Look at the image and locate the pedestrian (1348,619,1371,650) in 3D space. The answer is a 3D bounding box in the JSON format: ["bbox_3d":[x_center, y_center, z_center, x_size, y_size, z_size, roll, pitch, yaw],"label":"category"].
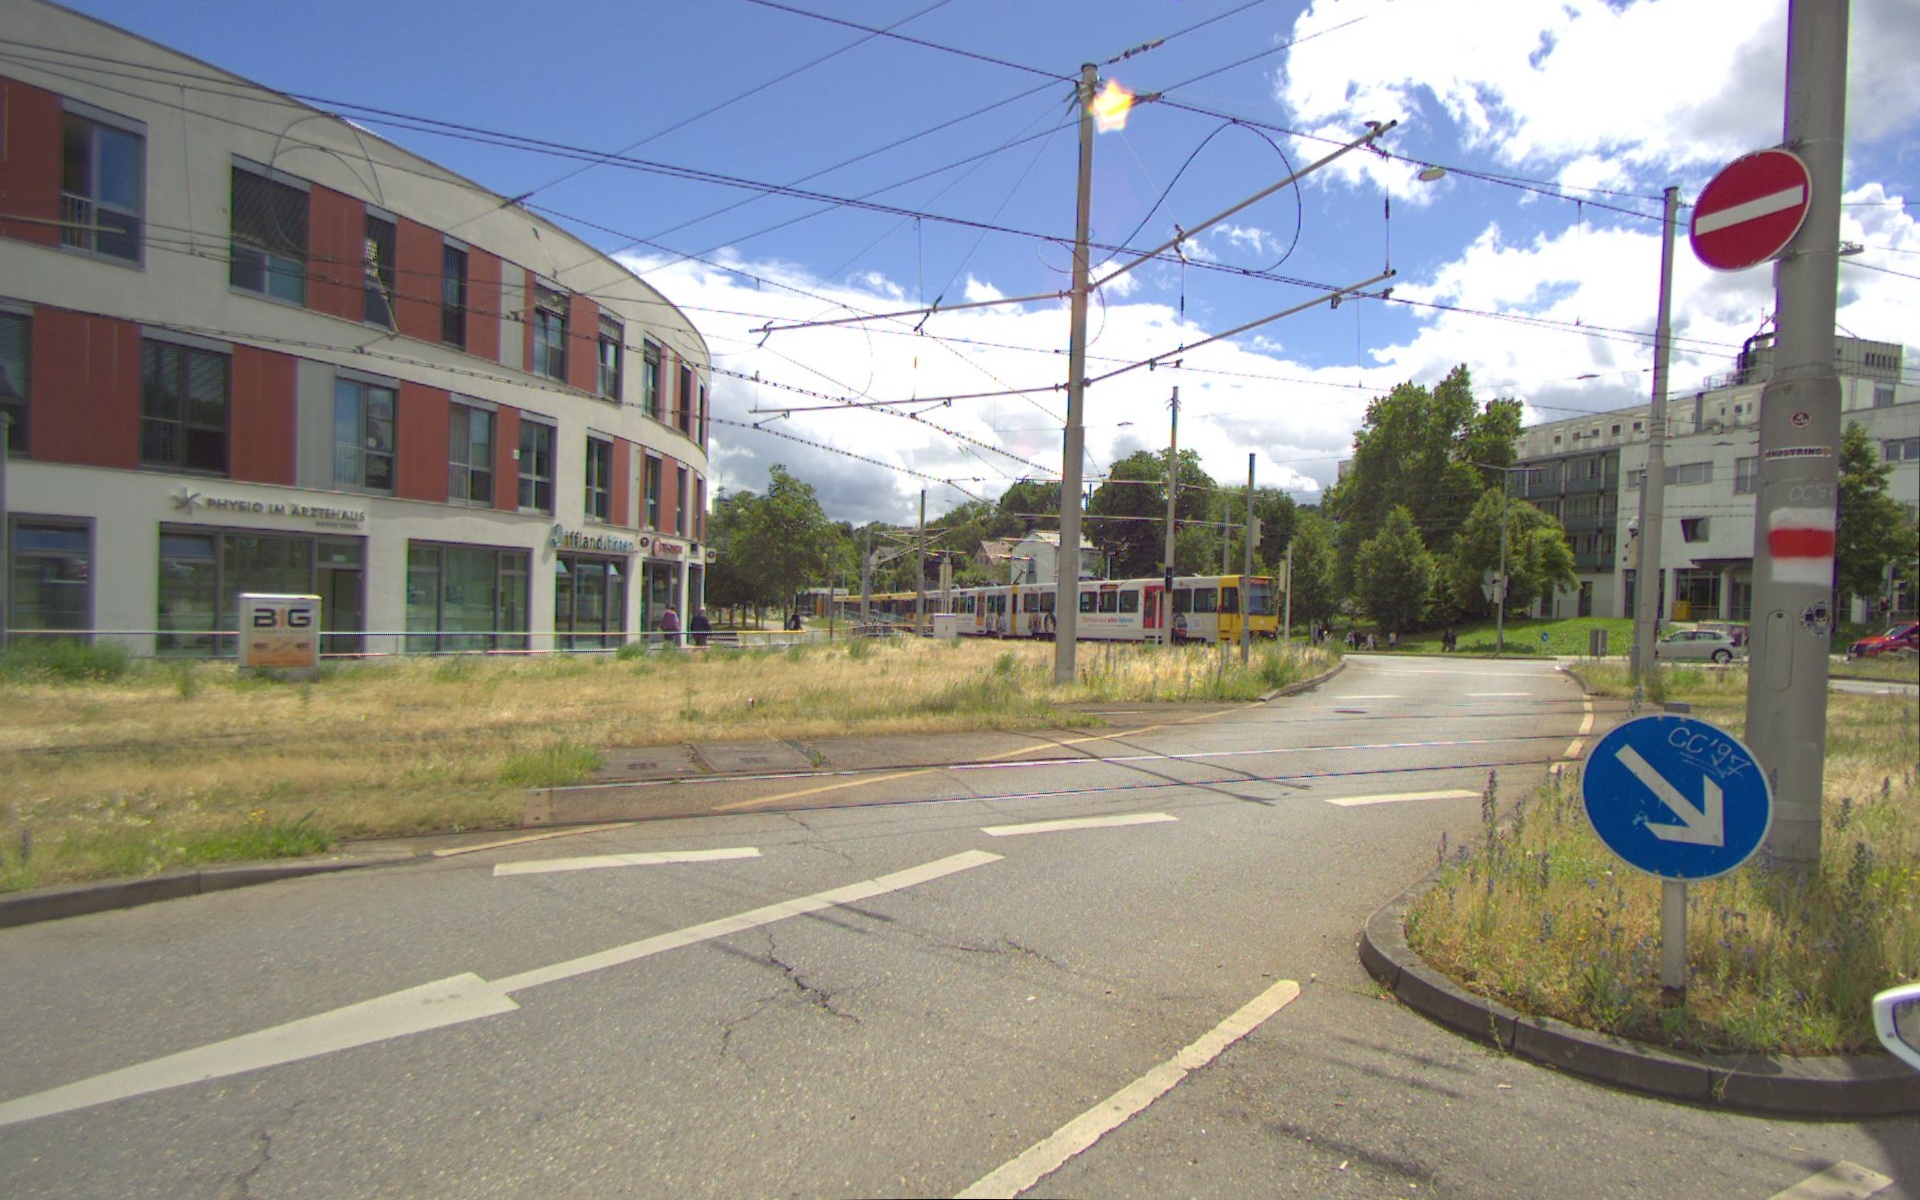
[{"bbox_3d":[26.219,2.291,65.998,0.854,1.994,1.098,2,-1,-27],"label":"pedestrian"}]

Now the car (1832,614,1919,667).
[{"bbox_3d":[38.259,1.636,40.190,4.702,2.035,1.859,1,-1,17],"label":"car"}]

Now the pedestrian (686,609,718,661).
[{"bbox_3d":[-8.076,1.096,31.480,0.720,1.601,0.692,1,0,10],"label":"pedestrian"}]

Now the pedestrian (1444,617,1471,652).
[{"bbox_3d":[28.794,1.974,58.155,0.854,1.994,1.098,2,-1,-27],"label":"pedestrian"}]

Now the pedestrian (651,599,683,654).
[{"bbox_3d":[-10.913,0.994,37.434,0.848,1.994,1.106,1,-1,-1],"label":"pedestrian"}]

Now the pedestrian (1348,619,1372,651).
[{"bbox_3d":[25.464,2.221,63.955,0.854,1.994,1.098,2,-1,-27],"label":"pedestrian"}]

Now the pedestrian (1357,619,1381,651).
[{"bbox_3d":[26.182,2.255,64.325,0.854,1.994,1.098,2,-1,-27],"label":"pedestrian"}]

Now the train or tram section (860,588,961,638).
[{"bbox_3d":[-4.853,1.244,89.672,3.703,3.880,20.068,2,-2,-18],"label":"train or tram section"}]

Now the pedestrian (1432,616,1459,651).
[{"bbox_3d":[27.882,1.922,57.730,0.854,1.994,1.098,2,-1,-27],"label":"pedestrian"}]

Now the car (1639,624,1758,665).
[{"bbox_3d":[31.957,1.905,43.588,4.101,1.606,1.853,0,-2,36],"label":"car"}]

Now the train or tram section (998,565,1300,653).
[{"bbox_3d":[9.022,0.566,53.880,3.719,3.864,19.885,2,-2,-31],"label":"train or tram section"}]

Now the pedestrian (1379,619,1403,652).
[{"bbox_3d":[26.797,2.211,62.481,0.854,1.994,1.098,2,-1,-27],"label":"pedestrian"}]

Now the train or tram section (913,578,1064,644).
[{"bbox_3d":[1.358,0.891,71.147,3.703,3.930,20.550,2,-2,-19],"label":"train or tram section"}]

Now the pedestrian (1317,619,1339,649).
[{"bbox_3d":[24.994,2.294,68.195,0.853,1.994,1.099,2,-1,-26],"label":"pedestrian"}]

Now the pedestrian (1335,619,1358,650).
[{"bbox_3d":[25.287,2.252,65.649,0.854,1.994,1.098,2,-1,-27],"label":"pedestrian"}]

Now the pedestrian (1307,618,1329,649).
[{"bbox_3d":[24.178,2.254,67.789,0.853,1.994,1.099,2,-1,-26],"label":"pedestrian"}]

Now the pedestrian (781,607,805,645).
[{"bbox_3d":[-7.464,1.160,44.964,0.847,1.646,0.733,1,-1,7],"label":"pedestrian"}]
